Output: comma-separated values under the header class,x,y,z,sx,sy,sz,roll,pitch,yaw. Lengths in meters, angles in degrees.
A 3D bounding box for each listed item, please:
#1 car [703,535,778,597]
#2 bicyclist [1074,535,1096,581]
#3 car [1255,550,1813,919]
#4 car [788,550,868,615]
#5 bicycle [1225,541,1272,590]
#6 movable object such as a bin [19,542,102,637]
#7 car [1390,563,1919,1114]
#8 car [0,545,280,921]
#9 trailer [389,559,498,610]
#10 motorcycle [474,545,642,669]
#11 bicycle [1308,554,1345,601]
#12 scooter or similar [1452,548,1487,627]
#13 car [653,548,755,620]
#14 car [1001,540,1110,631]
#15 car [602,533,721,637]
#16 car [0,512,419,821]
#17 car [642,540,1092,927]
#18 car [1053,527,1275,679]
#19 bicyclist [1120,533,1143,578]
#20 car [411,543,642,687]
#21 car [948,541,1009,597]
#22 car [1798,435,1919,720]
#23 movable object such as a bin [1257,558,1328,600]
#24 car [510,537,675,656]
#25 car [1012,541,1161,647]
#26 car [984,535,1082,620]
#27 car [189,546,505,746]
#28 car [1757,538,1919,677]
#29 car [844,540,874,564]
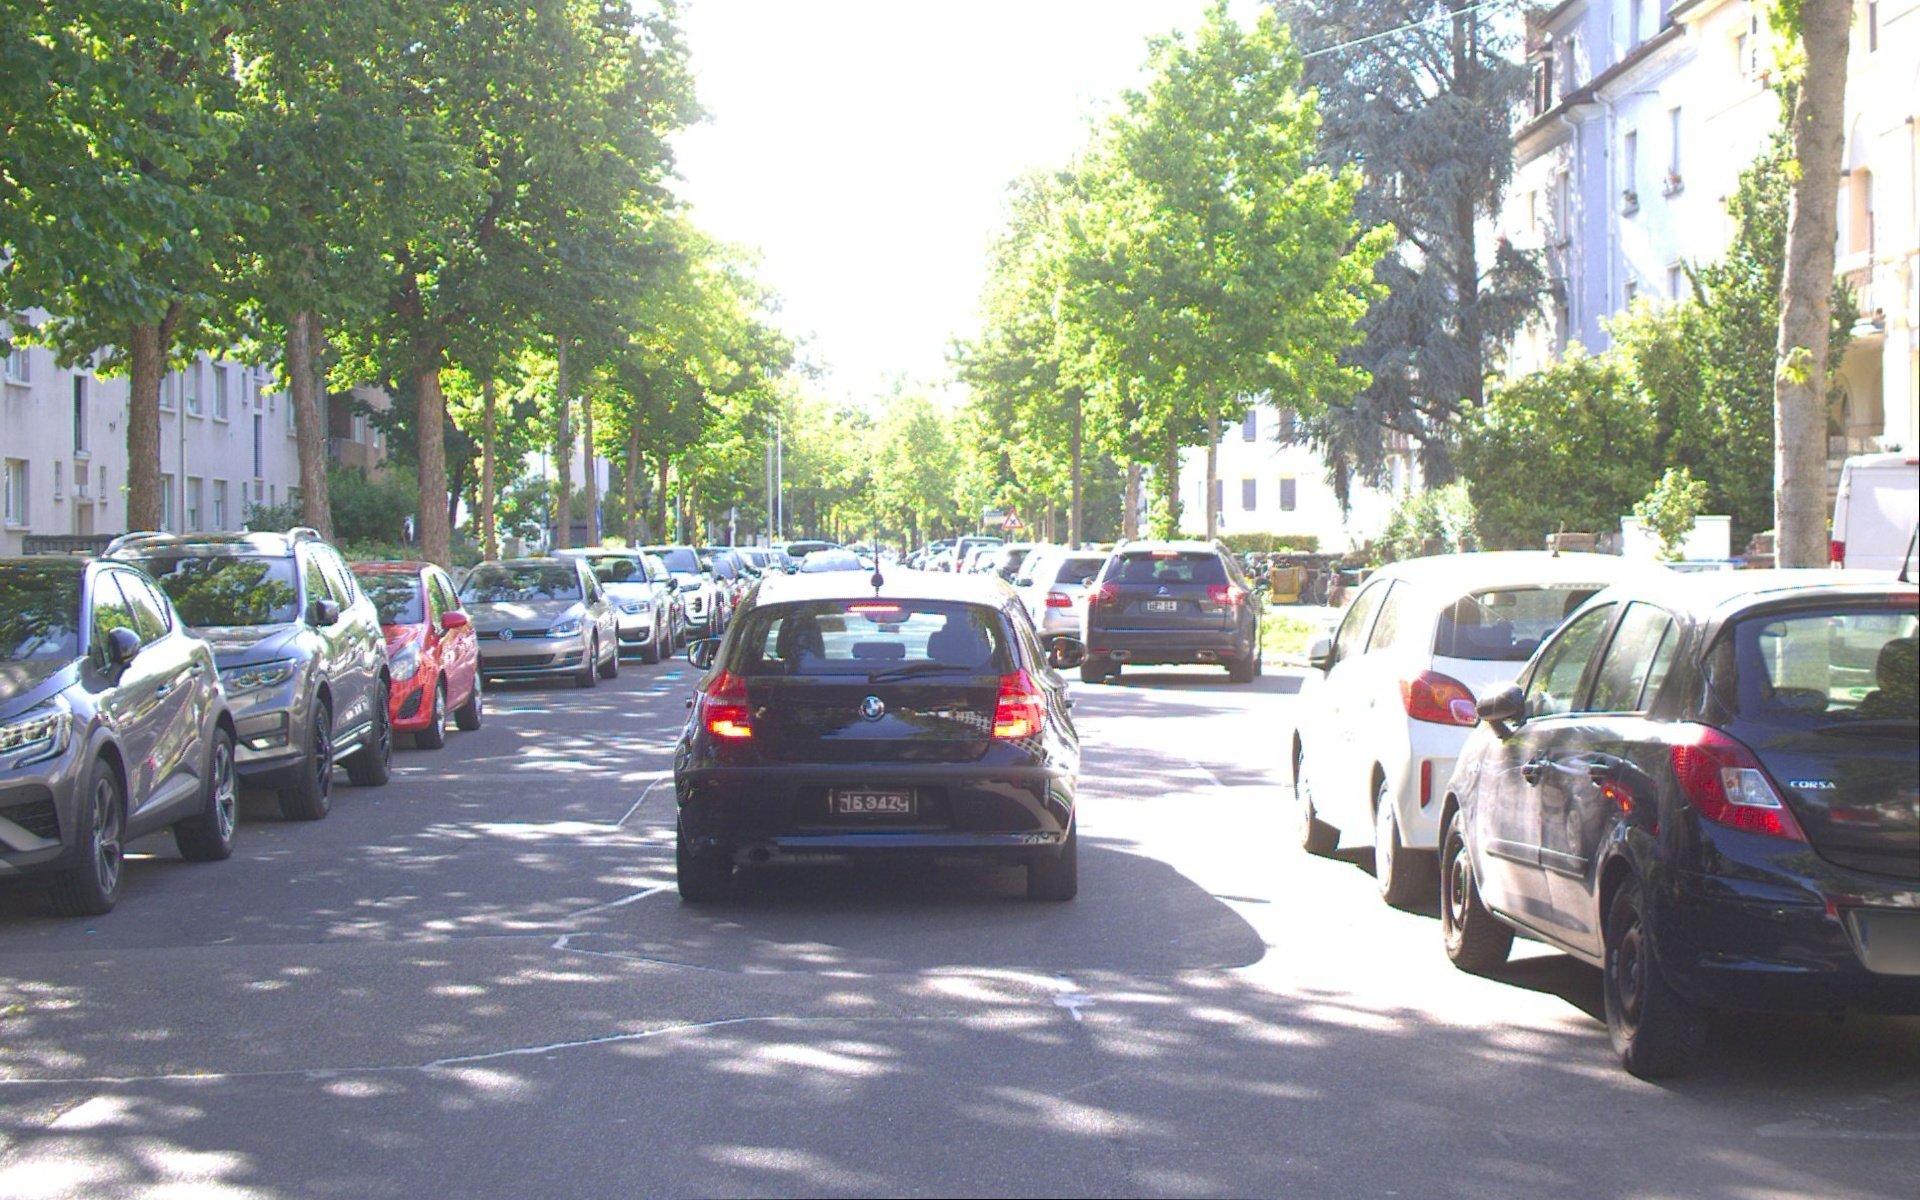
class,x,y,z,sx,sy,sz,roll,pitch,yaw
car,-5.821,-0.915,91.660,1.811,1.590,4.233,-1,1,-1
bicyclist,4.397,-1.462,120.840,0.677,1.604,0.922,-1,1,-4
car,2.512,0.522,15.995,1.732,1.482,4.010,0,1,-3
car,-3.124,-0.430,81.453,1.809,1.441,4.367,-2,1,-2
bicycle,7.479,-0.889,89.275,0.838,1.253,2.232,0,1,-5
movable object such as a bin,-12.724,-0.158,48.667,0.929,1.319,1.379,-1,1,-6
car,2.634,0.640,11.427,1.670,1.445,4.179,2,1,-2
car,-4.532,0.512,16.269,1.769,1.526,4.420,0,1,0
trailer,-11.003,-0.344,73.372,1.789,1.030,3.281,0,1,1
motorcycle,-5.048,0.081,43.083,0.987,1.498,2.233,-2,1,-41
bicycle,7.816,-0.477,73.403,0.581,0.971,1.903,-1,1,0
scooter or similar,7.842,-0.204,52.888,0.402,1.181,1.205,0,2,14
car,-5.271,-0.356,71.173,1.779,1.374,4.263,-2,1,-1
car,1.705,-0.287,62.417,1.654,1.527,3.970,2,1,-2
car,-5.068,-0.277,58.809,1.728,1.612,4.367,-4,1,-2
car,-4.576,0.326,21.503,1.767,1.682,4.815,-1,1,-2
car,-0.308,0.505,15.799,1.783,1.518,4.000,-1,1,2
car,2.133,0.021,37.308,1.895,1.519,4.967,0,0,-2
bicyclist,6.034,-1.567,121.131,0.676,1.548,1.022,-1,1,-4
car,-4.873,0.122,39.236,2.043,1.519,4.606,0,1,0
car,0.644,-1.109,121.936,1.971,1.942,4.986,0,1,-2
car,9.846,-0.226,29.090,5.039,2.298,2.235,-1,1,-24
movable object such as a bin,7.450,-0.472,76.908,1.222,0.901,1.663,0,1,20
car,-4.975,-0.091,47.059,2.063,1.519,4.723,0,1,-4
car,1.855,-0.124,51.702,1.821,1.464,4.910,1,1,-2
car,1.495,-0.504,71.995,1.926,1.646,5.095,2,1,0
car,-4.852,0.312,27.761,1.856,1.464,4.182,0,1,-1
car,10.988,0.069,36.927,4.721,1.464,1.952,0,1,14
car,-6.863,-3.231,233.286,1.783,1.603,4.001,-1,1,-5
